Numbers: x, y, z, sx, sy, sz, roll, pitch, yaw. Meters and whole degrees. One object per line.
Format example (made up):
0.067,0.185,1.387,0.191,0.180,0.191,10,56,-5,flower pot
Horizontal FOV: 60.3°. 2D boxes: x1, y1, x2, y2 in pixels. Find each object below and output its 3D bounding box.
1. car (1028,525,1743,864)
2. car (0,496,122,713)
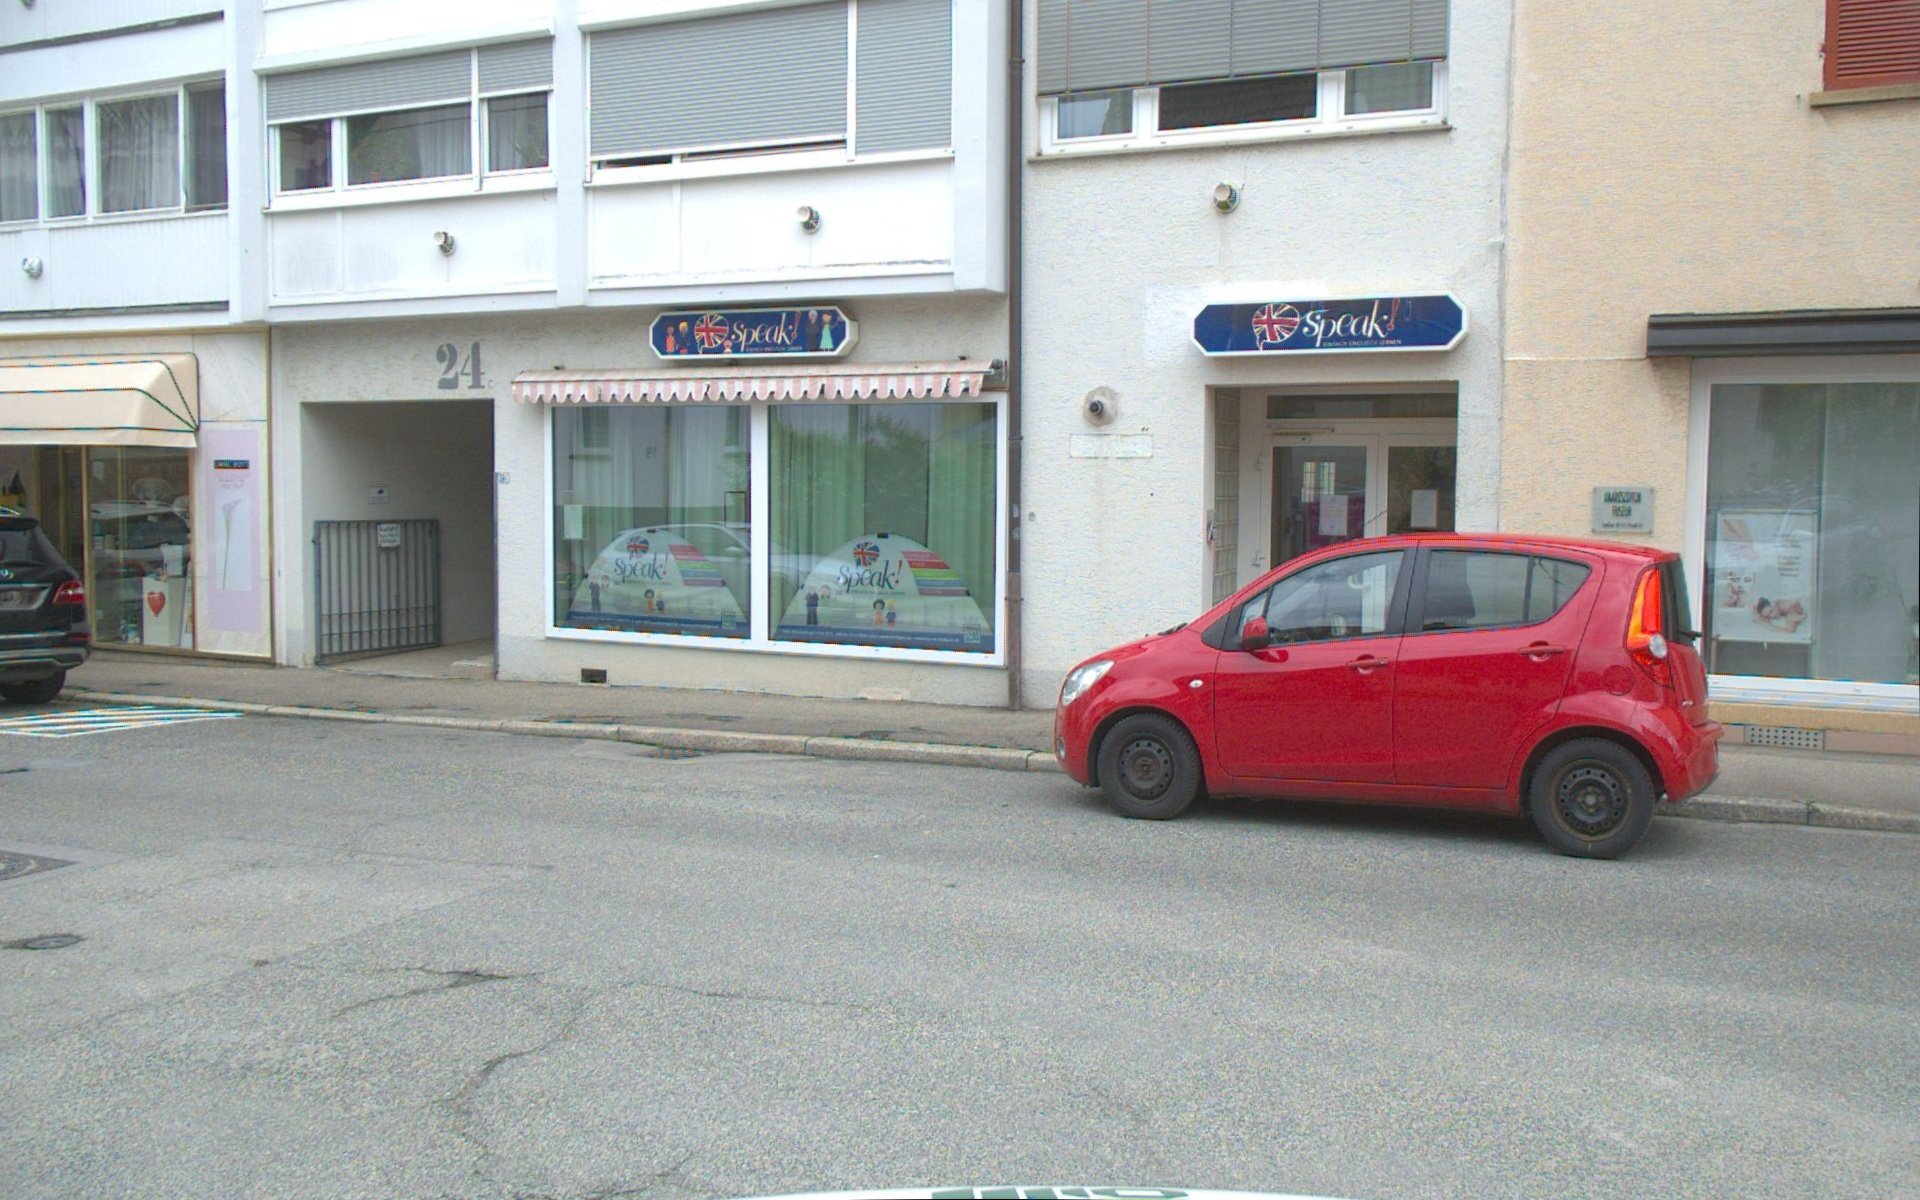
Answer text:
2.377,0.400,9.287,3.611,1.583,1.695,1,1,27,car
-9.879,0.016,14.895,4.268,1.810,1.946,0,2,25,car
